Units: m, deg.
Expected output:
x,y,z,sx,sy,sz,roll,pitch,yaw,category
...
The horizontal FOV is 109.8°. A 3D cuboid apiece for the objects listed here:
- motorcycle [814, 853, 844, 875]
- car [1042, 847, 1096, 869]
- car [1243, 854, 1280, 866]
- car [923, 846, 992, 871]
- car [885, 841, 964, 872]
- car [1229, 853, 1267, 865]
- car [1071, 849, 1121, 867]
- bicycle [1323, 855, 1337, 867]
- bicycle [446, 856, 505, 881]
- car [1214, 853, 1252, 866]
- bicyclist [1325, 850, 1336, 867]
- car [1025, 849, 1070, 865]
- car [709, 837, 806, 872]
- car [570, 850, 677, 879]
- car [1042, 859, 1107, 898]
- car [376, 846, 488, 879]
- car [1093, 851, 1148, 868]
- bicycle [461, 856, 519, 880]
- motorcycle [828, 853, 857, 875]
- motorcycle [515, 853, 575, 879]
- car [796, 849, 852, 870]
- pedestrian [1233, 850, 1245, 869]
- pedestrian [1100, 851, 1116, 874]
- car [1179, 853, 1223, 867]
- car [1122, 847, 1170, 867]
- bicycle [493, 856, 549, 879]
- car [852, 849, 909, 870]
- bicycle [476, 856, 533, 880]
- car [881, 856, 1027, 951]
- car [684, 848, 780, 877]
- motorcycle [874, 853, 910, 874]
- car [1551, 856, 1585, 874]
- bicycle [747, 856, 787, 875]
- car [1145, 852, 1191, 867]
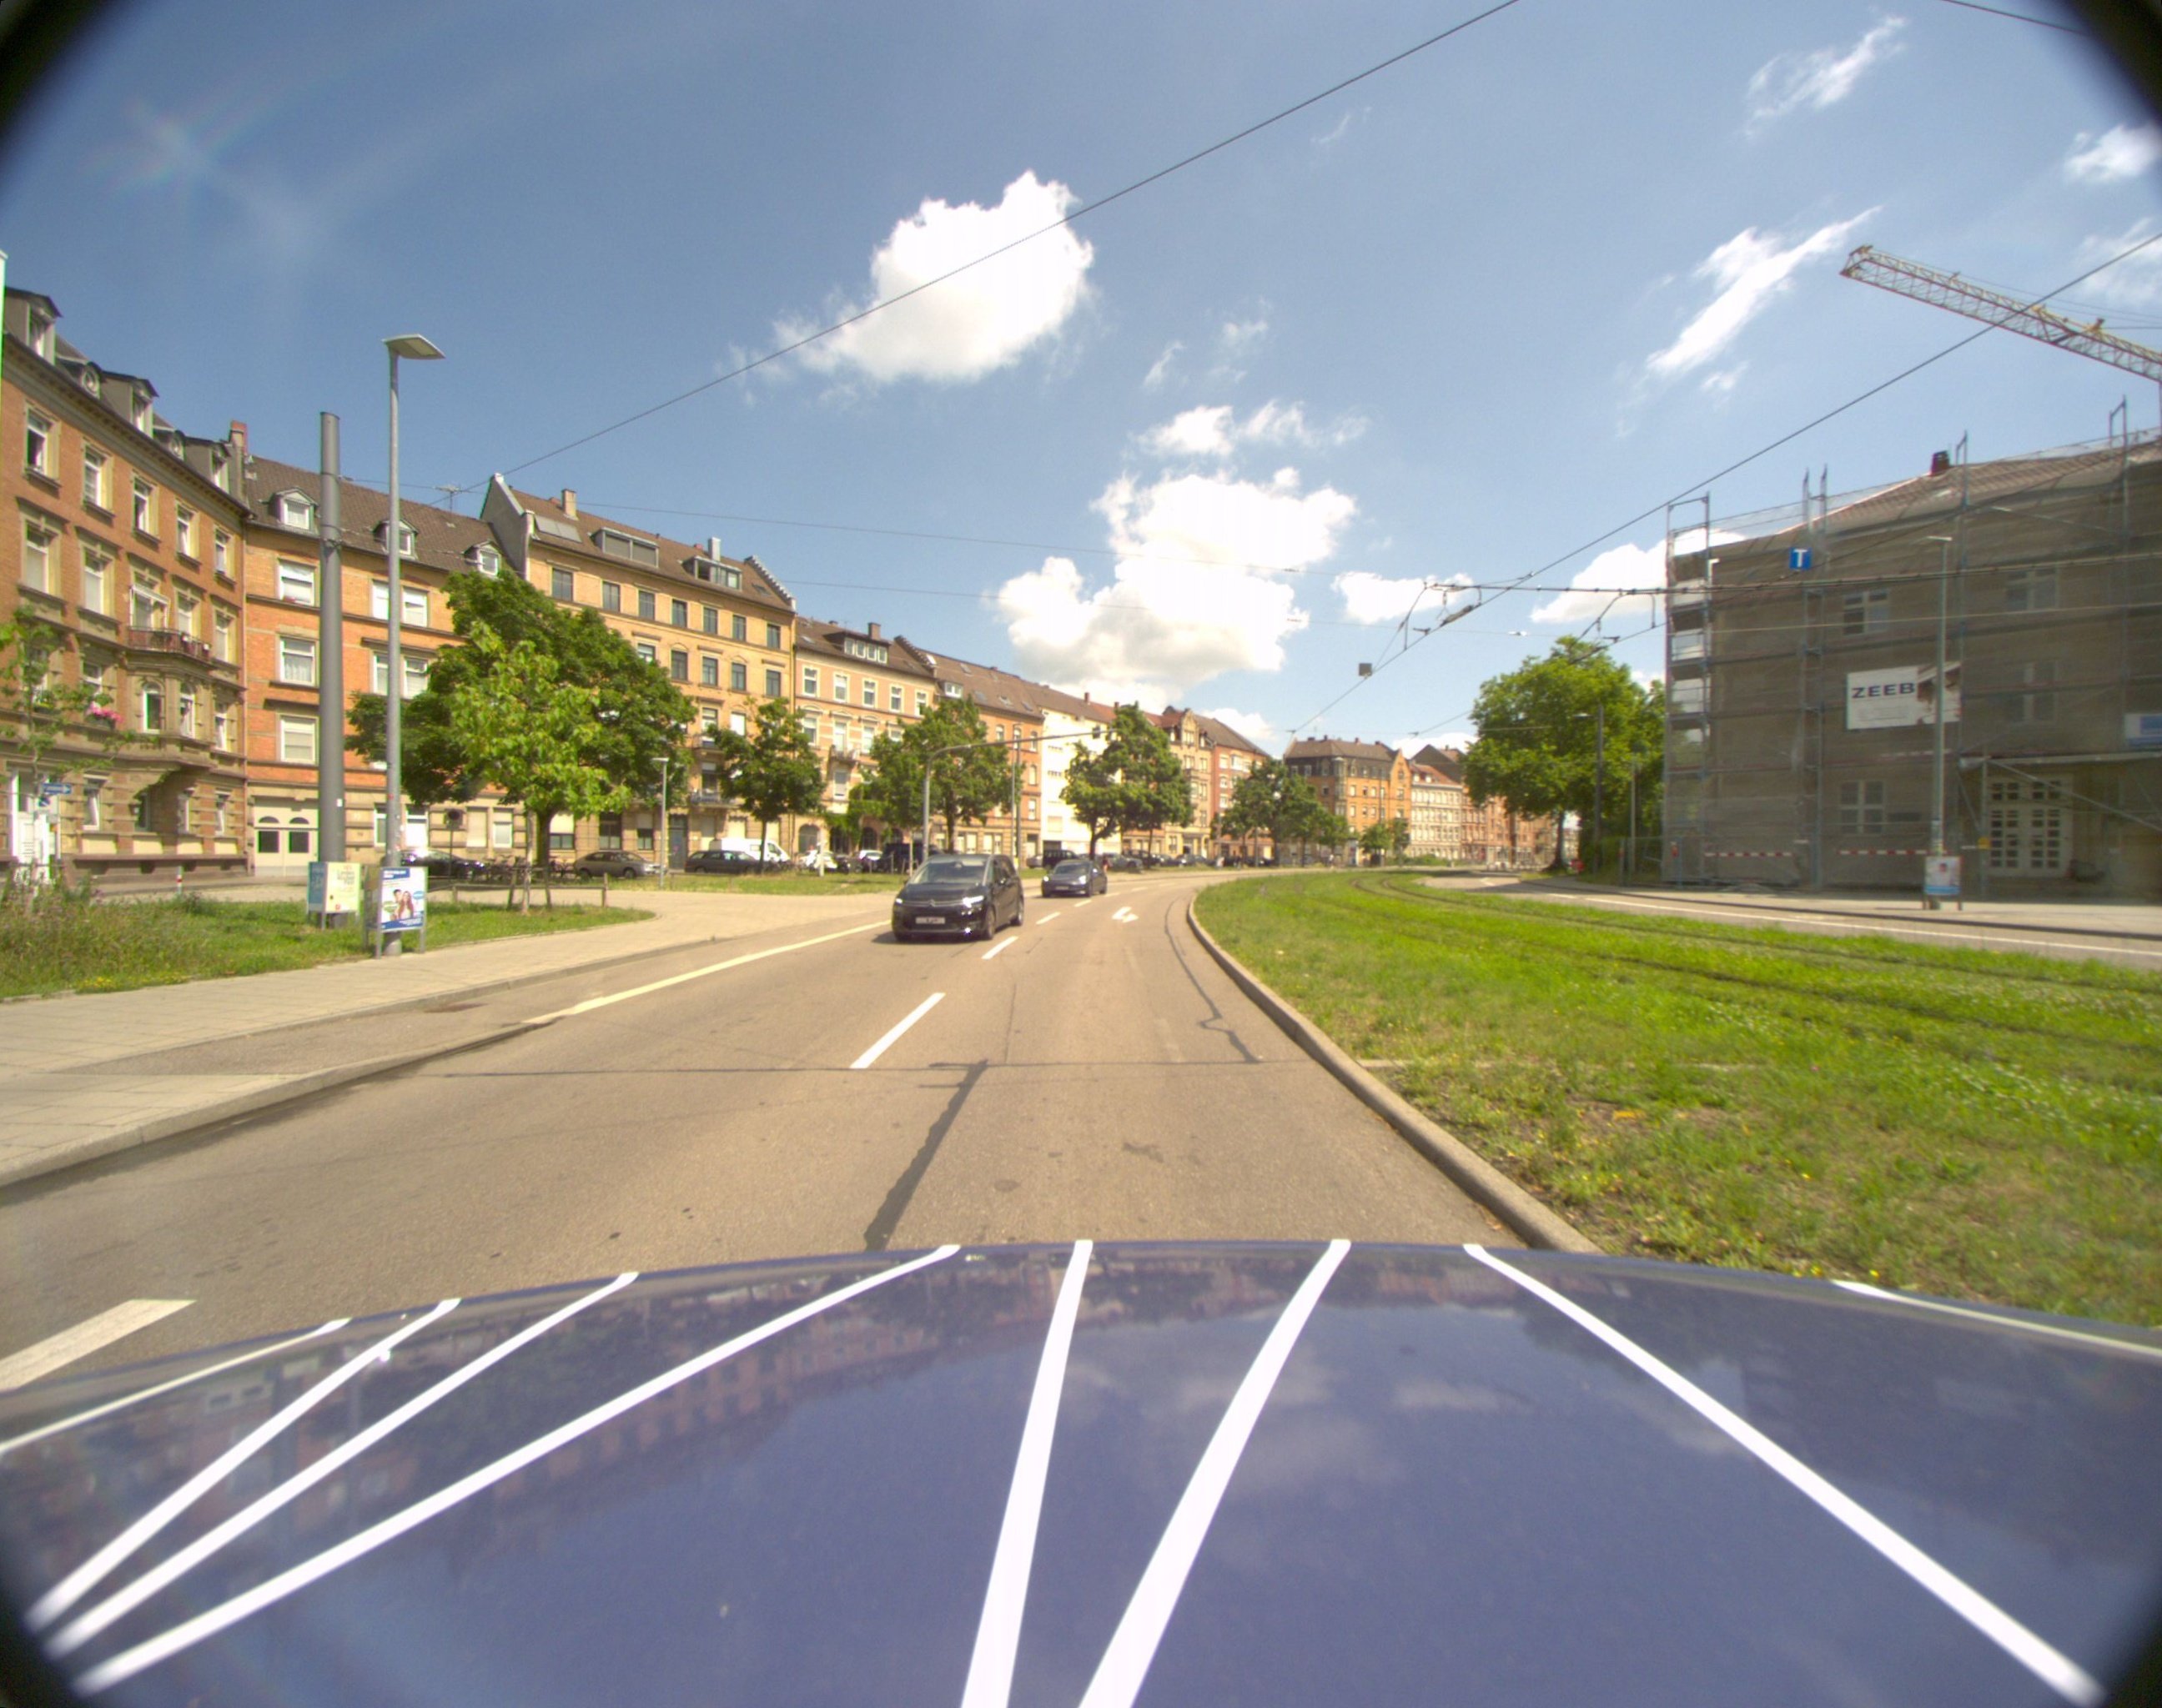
x,y,z,sx,sy,sz,roll,pitch,yaw,category
-13.566,0.516,40.884,1.783,1.160,0.641,0,1,38,motorcycle
-0.936,0.338,61.892,4.144,1.731,1.854,-1,0,9,car
20.953,0.725,88.211,3.992,1.346,1.964,-1,0,17,car
-8.362,0.328,51.605,4.167,1.646,1.918,-1,0,13,car
-10.137,0.144,49.272,4.623,1.916,1.918,-1,0,9,car
18.754,0.574,85.552,3.995,1.372,1.963,-1,0,7,car
1.316,0.330,64.073,4.081,1.397,1.853,-1,0,4,car
27.963,0.759,85.303,0.693,1.236,1.843,8,4,44,bicycle
-24.493,0.584,30.745,2.387,0.963,0.544,-1,0,16,bicycle
16.708,0.614,83.372,3.993,1.372,1.963,-1,0,11,car
28.047,0.472,85.353,0.694,1.814,0.958,8,4,44,bicyclist
-3.147,0.248,71.693,1.833,1.483,4.236,-1,0,40,car
-20.901,0.017,49.274,2.111,2.166,5.405,-1,0,40,car
-21.037,0.491,34.979,4.156,1.237,1.865,-1,0,15,car
-0.176,0.922,29.978,1.913,1.385,4.316,-1,0,8,car
-31.043,0.402,36.419,1.659,1.483,3.862,-1,0,40,car
3.469,0.480,66.587,4.688,1.372,1.853,-1,0,5,car
-24.345,0.584,31.299,2.387,0.963,0.544,-1,0,16,bicycle
-13.046,0.523,41.536,1.783,1.160,0.641,0,1,38,motorcycle
-23.617,0.518,33.465,2.387,1.119,0.814,-1,0,16,motorcycle
-17.934,0.387,53.155,1.564,1.395,3.358,1,0,42,car
14.674,0.499,70.473,0.700,1.695,1.046,1,4,38,pedestrian
1.859,0.605,52.786,0.700,1.583,0.907,1,1,39,pedestrian
12.232,0.643,77.553,4.265,1.372,1.853,-1,0,3,car
5.906,0.272,69.447,4.361,1.731,1.853,-1,0,3,car
-23.979,0.592,32.531,2.387,0.950,0.544,-1,0,16,bicycle
-15.001,0.406,56.870,1.659,1.483,3.862,-1,0,40,car
-24.177,0.585,31.862,2.387,0.963,0.544,-1,0,16,bicycle
-2.361,0.870,15.272,1.874,1.610,4.191,0,0,5,car
-18.103,0.436,39.505,4.252,1.419,1.807,0,0,10,car
-10.742,0.517,43.150,1.910,1.160,0.638,0,1,-39,motorcycle
39.190,0.897,61.093,1.927,1.360,4.327,-2,-1,37,car
-15.448,0.579,37.416,0.542,0.896,1.825,-1,0,36,bicycle
8.254,0.564,72.565,4.265,1.372,1.853,-1,0,3,car
